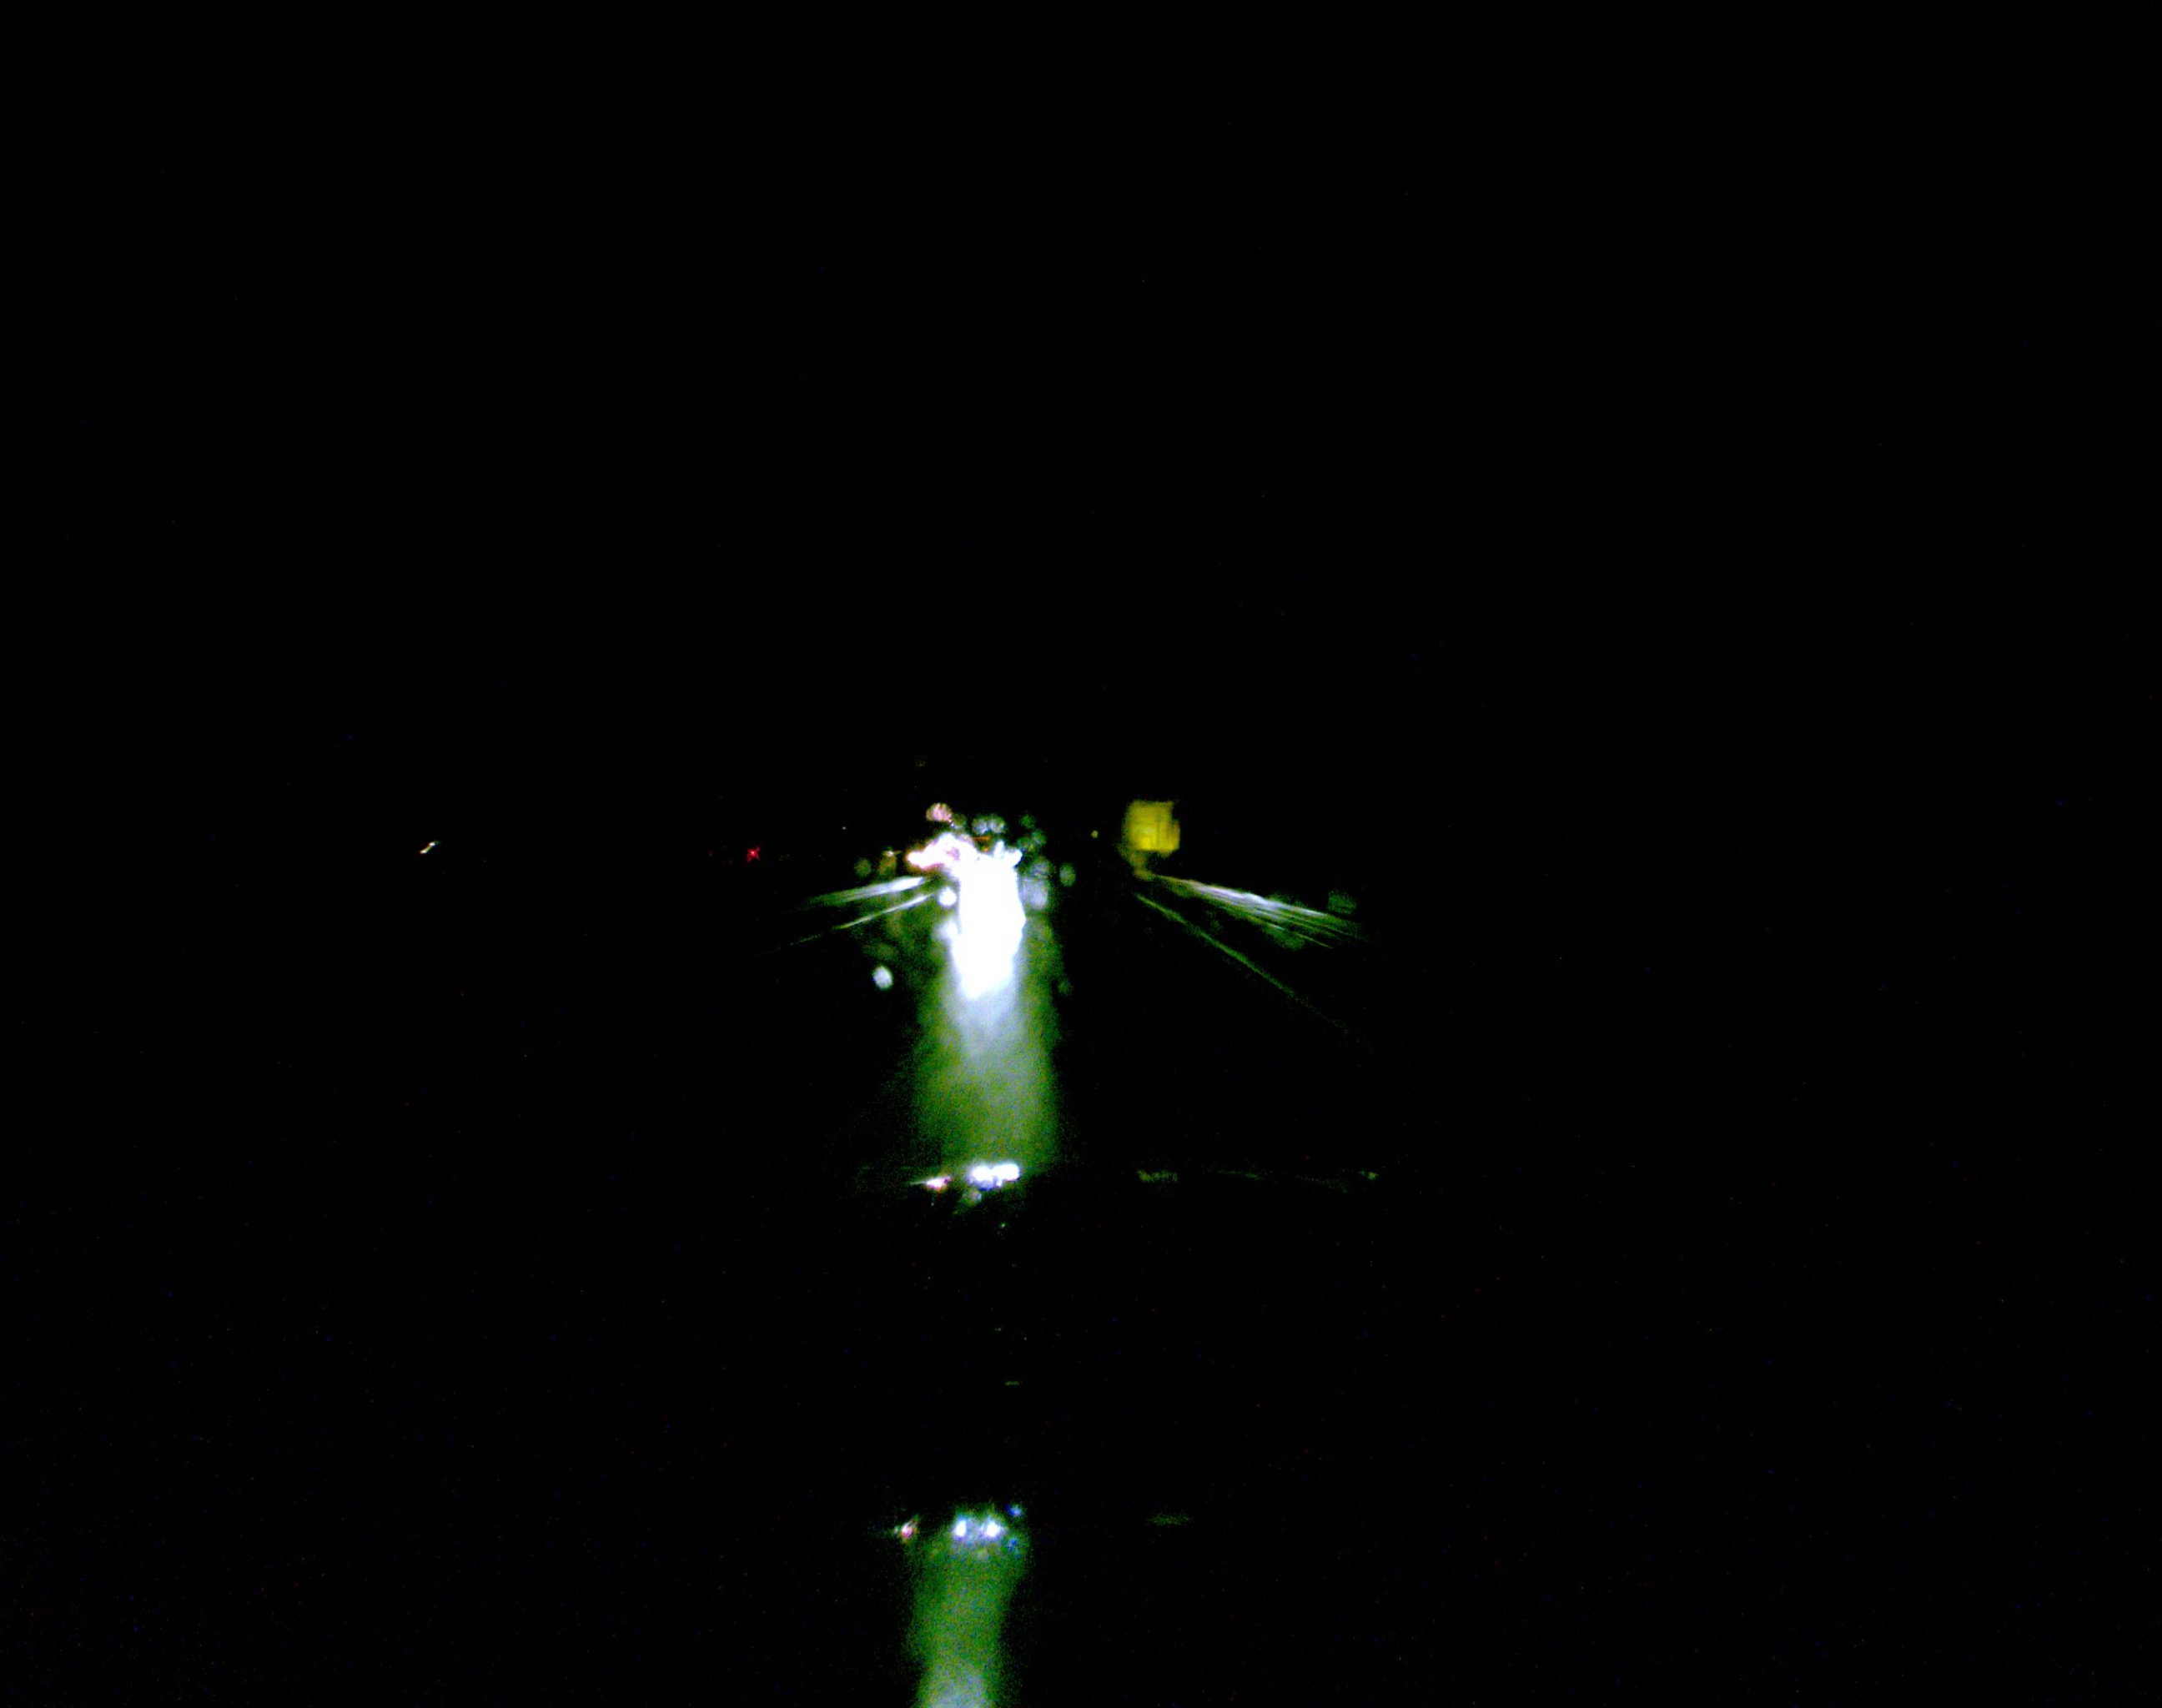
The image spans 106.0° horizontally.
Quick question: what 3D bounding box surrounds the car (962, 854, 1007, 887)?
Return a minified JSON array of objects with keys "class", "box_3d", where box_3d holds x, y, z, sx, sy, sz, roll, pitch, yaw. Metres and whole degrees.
[{"class":"car","box_3d":[-5.044,0.861,43.097,1.988,1.613,4.608,-2,-1,-2]}]
